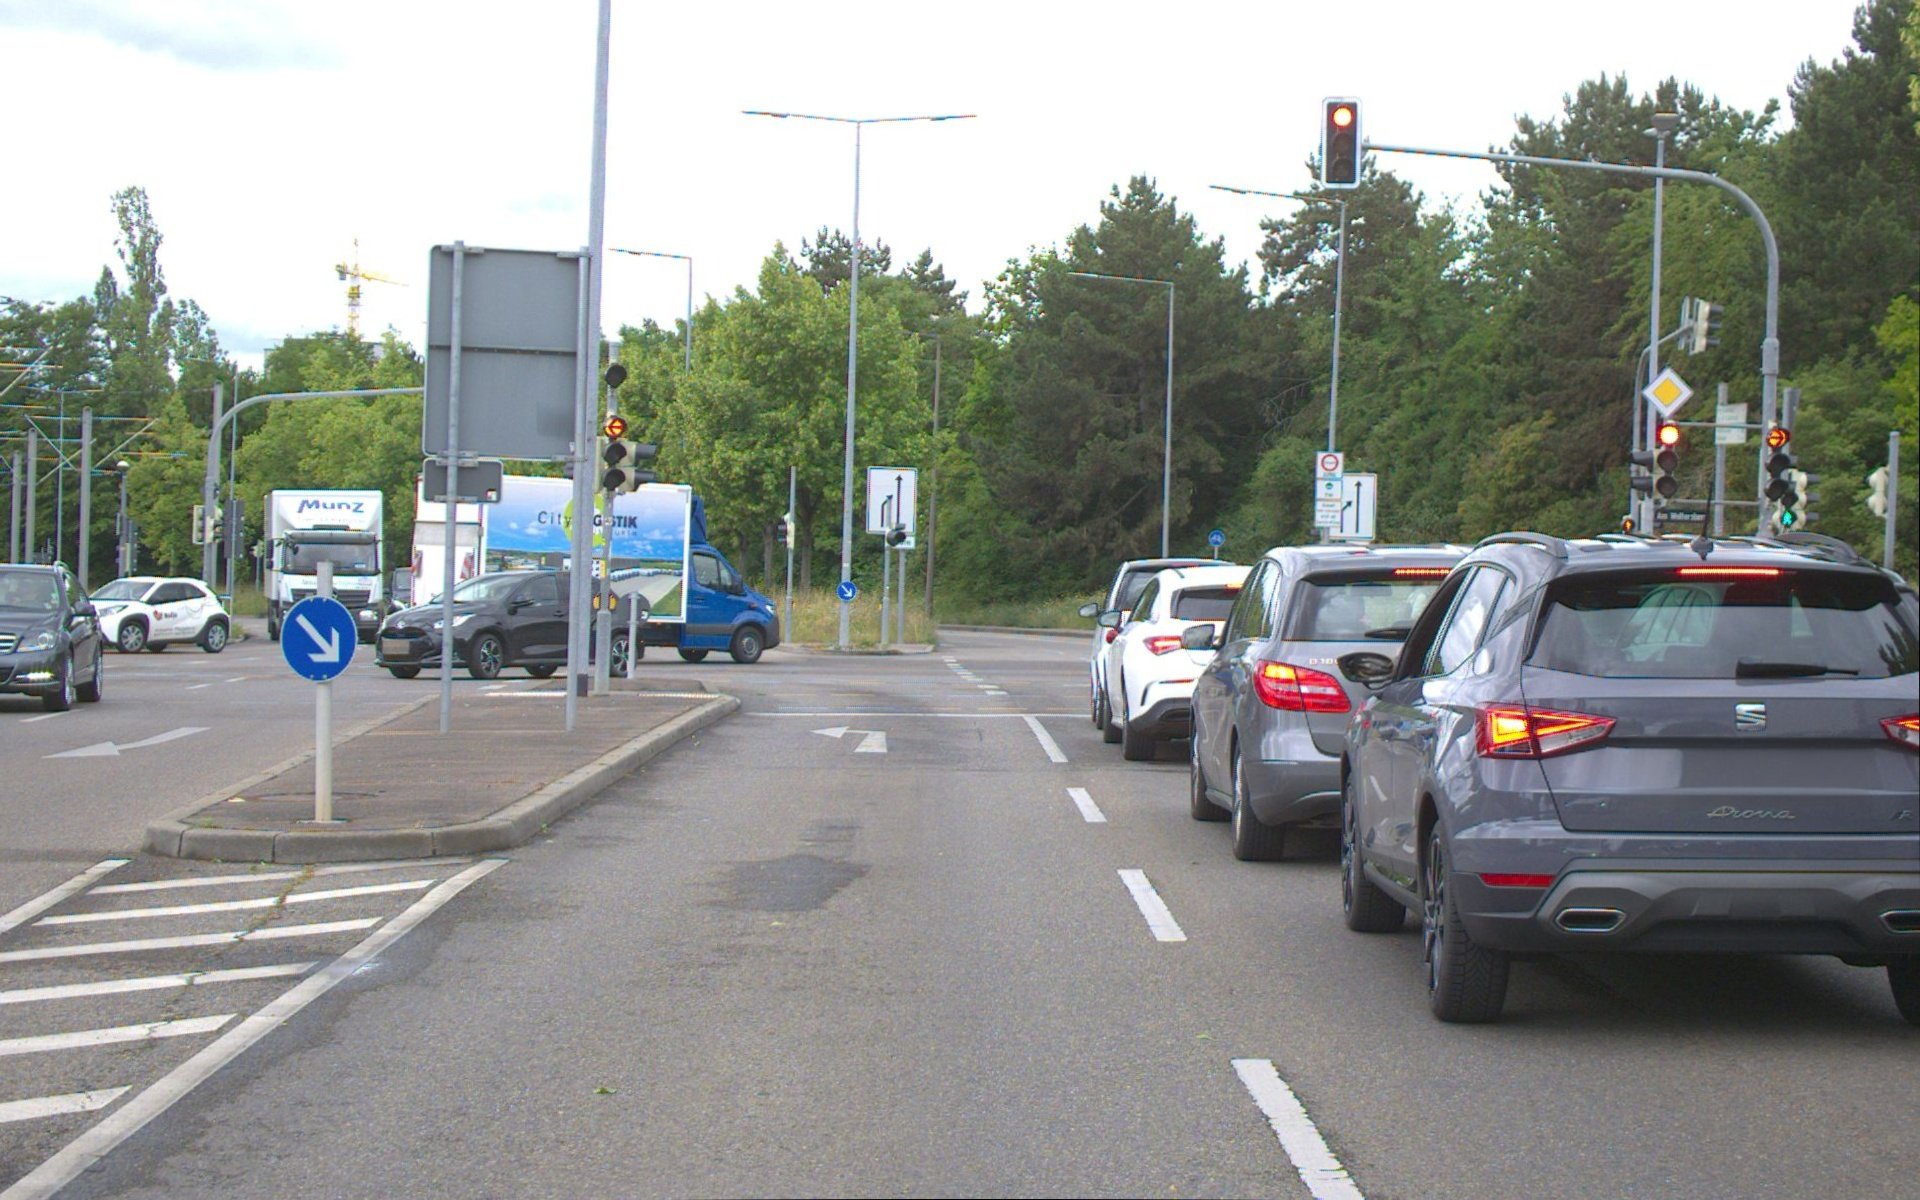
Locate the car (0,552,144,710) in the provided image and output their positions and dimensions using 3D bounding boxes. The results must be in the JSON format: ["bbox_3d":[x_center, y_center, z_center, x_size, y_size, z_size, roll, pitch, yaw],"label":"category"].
[{"bbox_3d":[-9.423,0.262,34.567,1.690,1.434,4.547,0,1,-5],"label":"car"}]

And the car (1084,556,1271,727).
[{"bbox_3d":[1.976,0.363,31.773,1.535,1.499,2.670,0,0,0],"label":"car"}]

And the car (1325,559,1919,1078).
[{"bbox_3d":[2.301,0.609,11.948,1.698,1.481,4.000,0,1,1],"label":"car"}]

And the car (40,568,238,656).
[{"bbox_3d":[-16.213,0.210,68.036,1.778,1.502,3.741,2,4,28],"label":"car"}]

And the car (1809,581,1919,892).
[{"bbox_3d":[5.105,0.607,14.835,1.812,1.349,4.118,0,1,-1],"label":"car"}]

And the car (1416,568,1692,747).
[{"bbox_3d":[4.918,0.442,28.931,1.545,1.399,4.000,0,0,-1],"label":"car"}]

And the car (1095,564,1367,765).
[{"bbox_3d":[2.001,0.438,26.457,1.721,1.417,4.357,0,0,0],"label":"car"}]

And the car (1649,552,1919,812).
[{"bbox_3d":[5.556,0.454,21.110,1.825,1.430,4.213,1,0,1],"label":"car"}]

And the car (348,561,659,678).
[{"bbox_3d":[-6.135,0.233,46.435,3.928,1.491,1.598,0,2,-41],"label":"car"}]

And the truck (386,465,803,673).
[{"bbox_3d":[-6.653,-0.588,63.230,7.242,3.586,2.691,0,3,-39],"label":"truck"}]

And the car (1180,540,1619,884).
[{"bbox_3d":[2.109,0.469,17.581,1.799,1.518,4.187,1,1,2],"label":"car"}]

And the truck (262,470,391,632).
[{"bbox_3d":[-15.370,-1.148,82.969,2.659,3.637,9.505,1,0,-13],"label":"truck"}]

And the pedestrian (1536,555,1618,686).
[{"bbox_3d":[7.373,0.241,41.105,0.864,1.555,0.518,0,1,-2],"label":"pedestrian"}]
